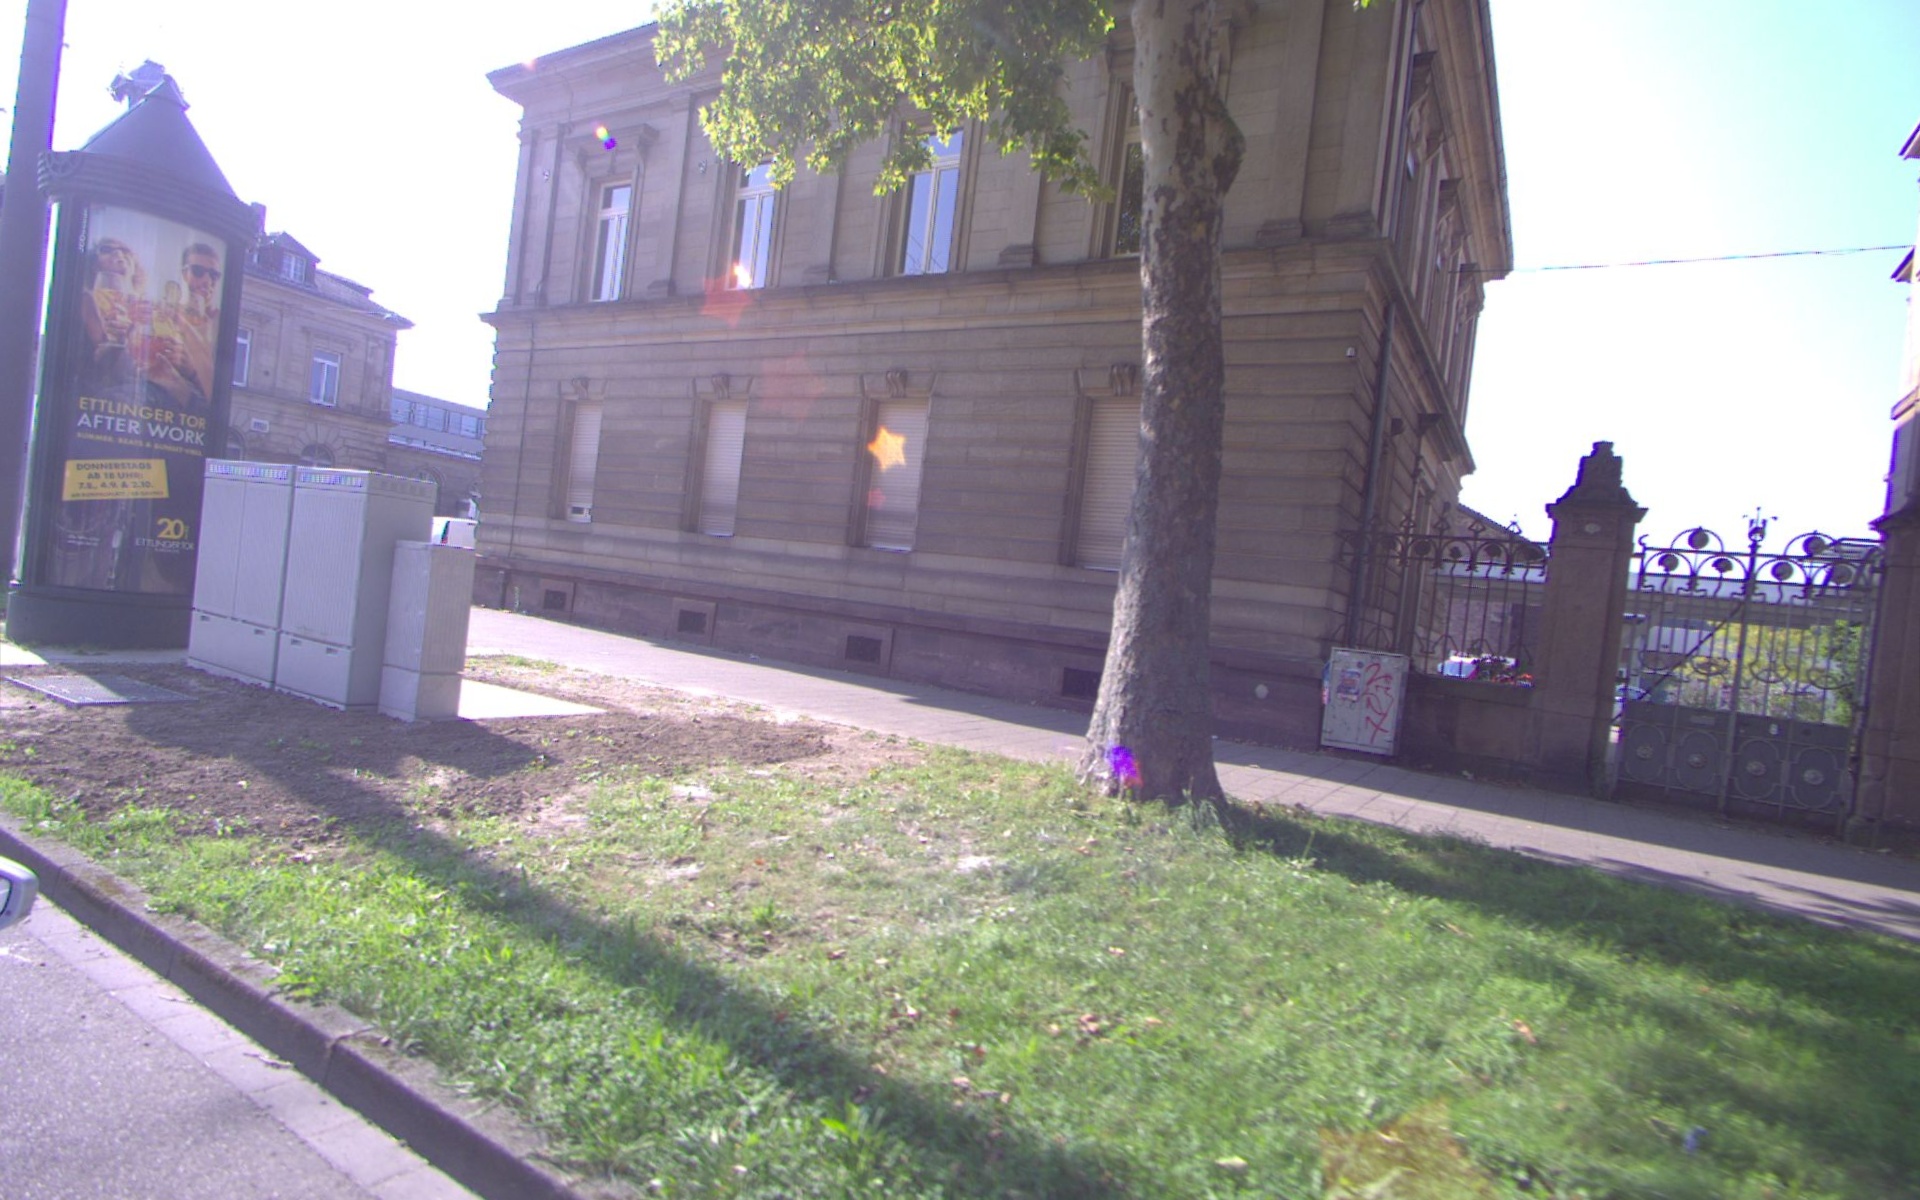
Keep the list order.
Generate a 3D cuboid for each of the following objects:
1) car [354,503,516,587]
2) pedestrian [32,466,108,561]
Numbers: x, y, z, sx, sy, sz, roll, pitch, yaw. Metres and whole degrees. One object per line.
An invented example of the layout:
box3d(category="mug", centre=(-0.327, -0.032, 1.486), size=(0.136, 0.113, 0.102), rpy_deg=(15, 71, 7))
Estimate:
box3d(category="car", centre=(-14.061, -1.478, 26.884), size=(4.155, 1.806, 1.904), rpy_deg=(6, 2, 32))
box3d(category="pedestrian", centre=(-17.719, -1.709, 20.036), size=(0.660, 1.759, 0.867), rpy_deg=(7, 1, 30))
